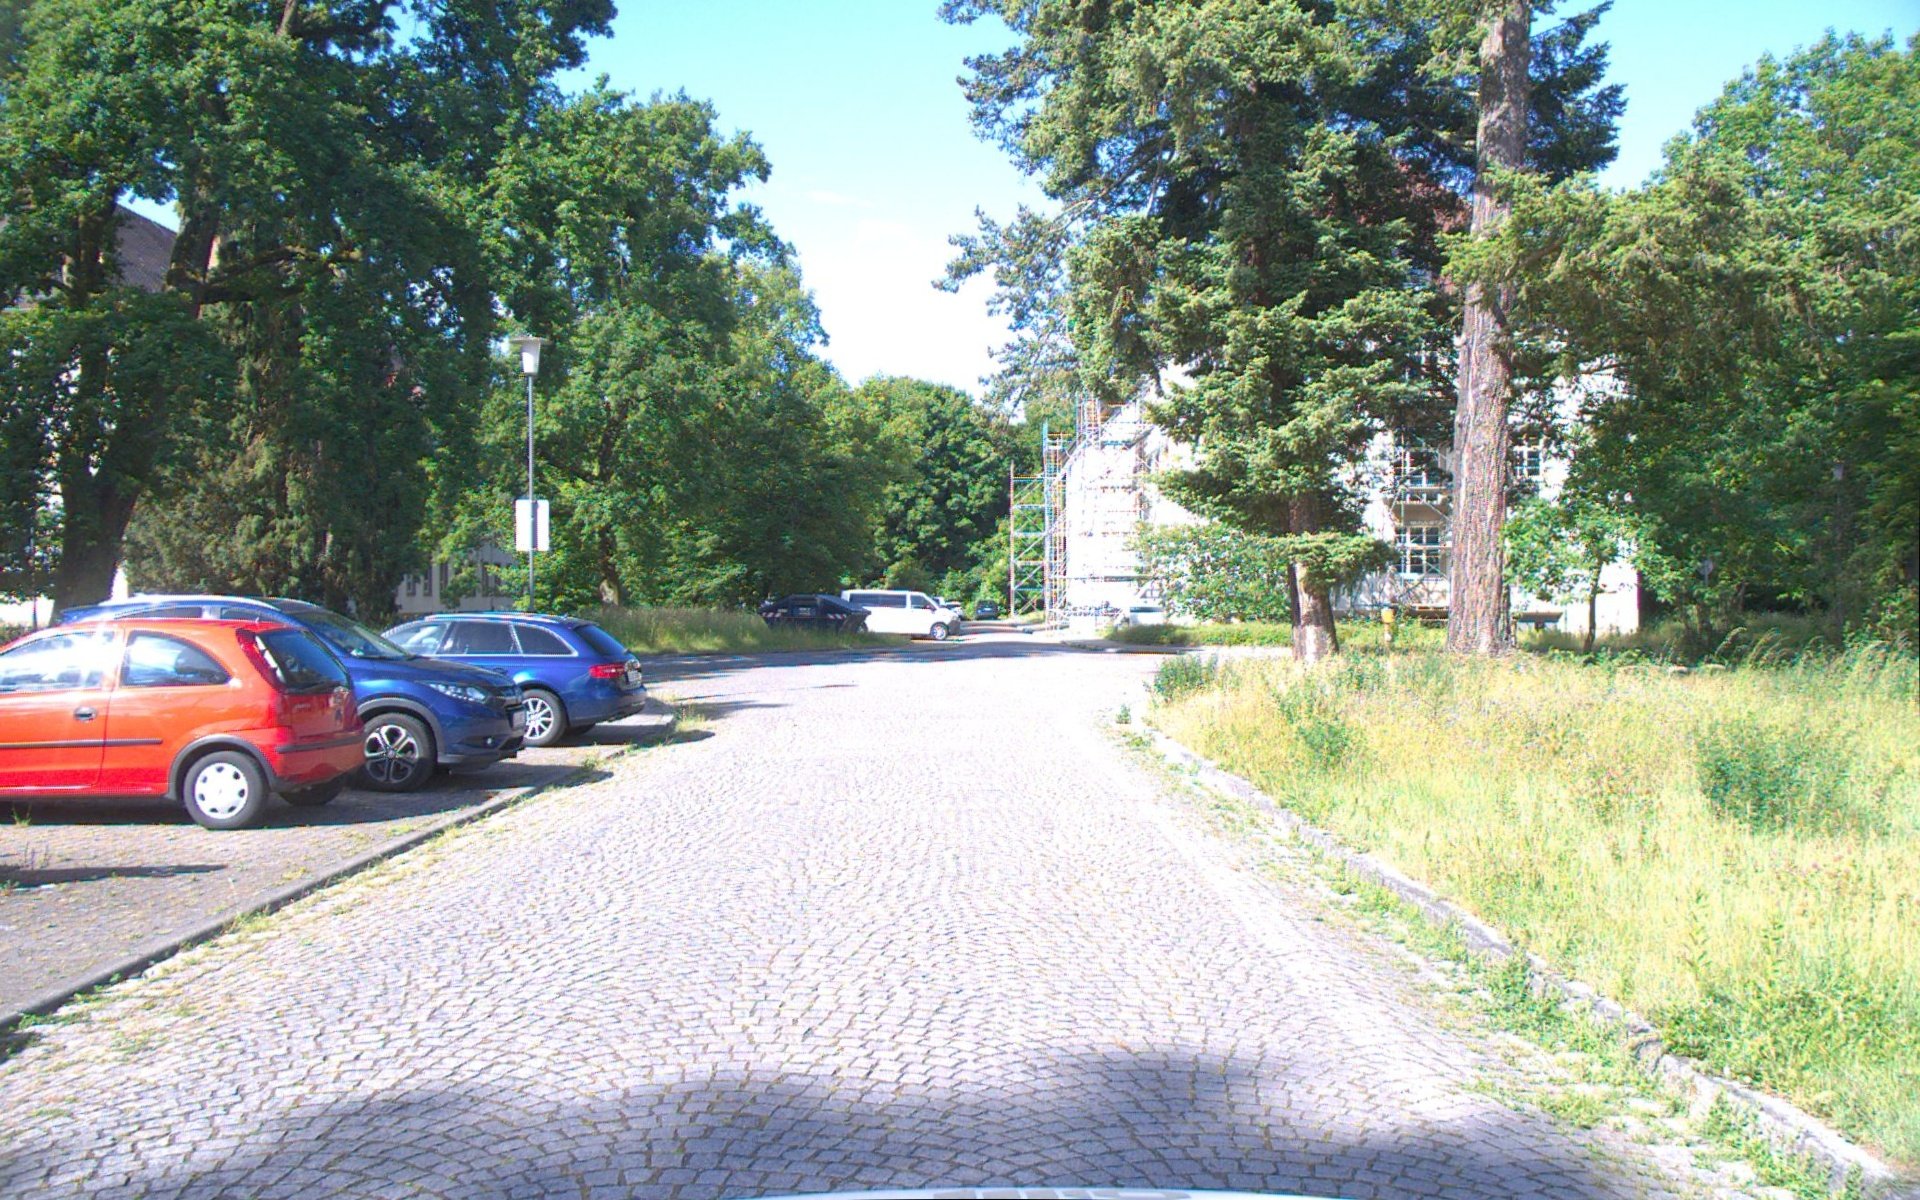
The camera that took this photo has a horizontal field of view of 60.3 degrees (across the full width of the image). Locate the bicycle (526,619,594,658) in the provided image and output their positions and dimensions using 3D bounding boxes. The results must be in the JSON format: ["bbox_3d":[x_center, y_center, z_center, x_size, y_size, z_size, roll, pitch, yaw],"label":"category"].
[{"bbox_3d":[-11.892,1.139,49.151,1.888,1.076,0.472,-2,0,-24],"label":"bicycle"}]

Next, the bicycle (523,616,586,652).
[{"bbox_3d":[-13.125,1.101,53.532,1.886,1.076,0.473,-2,0,-22],"label":"bicycle"}]

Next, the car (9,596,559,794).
[{"bbox_3d":[-5.786,0.781,14.558,4.051,1.607,1.884,0,0,-1],"label":"car"}]

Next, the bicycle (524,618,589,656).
[{"bbox_3d":[-12.500,1.143,51.308,1.886,1.076,0.473,-2,0,-22],"label":"bicycle"}]

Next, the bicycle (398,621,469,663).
[{"bbox_3d":[-15.210,1.210,47.778,1.889,1.122,0.566,-1,1,-25],"label":"bicycle"}]

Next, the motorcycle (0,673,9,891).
[{"bbox_3d":[-6.307,0.981,8.761,2.196,1.182,0.577,0,-1,0],"label":"motorcycle"}]

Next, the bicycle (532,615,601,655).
[{"bbox_3d":[-11.459,1.016,48.165,1.893,1.076,0.471,-2,0,-30],"label":"bicycle"}]

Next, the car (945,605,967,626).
[{"bbox_3d":[-0.331,1.242,134.195,1.775,1.607,4.133,-1,0,-1],"label":"car"}]

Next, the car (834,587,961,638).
[{"bbox_3d":[-2.544,0.525,68.164,5.128,2.051,1.949,0,0,-1],"label":"car"}]

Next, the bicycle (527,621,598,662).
[{"bbox_3d":[-11.433,1.193,47.611,1.893,1.076,0.471,-2,0,-30],"label":"bicycle"}]

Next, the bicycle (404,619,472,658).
[{"bbox_3d":[-15.754,1.159,49.927,1.892,1.122,0.565,0,1,-29],"label":"bicycle"}]

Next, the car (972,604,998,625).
[{"bbox_3d":[2.022,1.165,134.526,1.931,1.697,4.085,-1,0,-1],"label":"car"}]

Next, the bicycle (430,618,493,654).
[{"bbox_3d":[-15.766,1.131,52.310,1.884,1.122,0.567,0,1,-20],"label":"bicycle"}]

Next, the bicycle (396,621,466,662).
[{"bbox_3d":[-15.425,1.207,48.271,1.889,1.122,0.566,-1,1,-25],"label":"bicycle"}]

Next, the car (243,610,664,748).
[{"bbox_3d":[-5.776,0.875,19.240,4.269,1.470,1.921,0,0,2],"label":"car"}]

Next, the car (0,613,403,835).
[{"bbox_3d":[-6.338,0.847,12.154,3.842,1.458,1.842,0,0,0],"label":"car"}]

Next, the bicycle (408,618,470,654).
[{"bbox_3d":[-16.934,1.155,53.756,1.888,1.122,0.566,0,1,-25],"label":"bicycle"}]

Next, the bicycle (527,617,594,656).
[{"bbox_3d":[-12.192,1.107,50.500,1.888,1.076,0.472,-2,0,-24],"label":"bicycle"}]

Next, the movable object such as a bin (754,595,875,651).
[{"bbox_3d":[-4.837,0.764,55.036,3.490,1.775,2.026,-1,0,18],"label":"movable object such as a bin"}]
